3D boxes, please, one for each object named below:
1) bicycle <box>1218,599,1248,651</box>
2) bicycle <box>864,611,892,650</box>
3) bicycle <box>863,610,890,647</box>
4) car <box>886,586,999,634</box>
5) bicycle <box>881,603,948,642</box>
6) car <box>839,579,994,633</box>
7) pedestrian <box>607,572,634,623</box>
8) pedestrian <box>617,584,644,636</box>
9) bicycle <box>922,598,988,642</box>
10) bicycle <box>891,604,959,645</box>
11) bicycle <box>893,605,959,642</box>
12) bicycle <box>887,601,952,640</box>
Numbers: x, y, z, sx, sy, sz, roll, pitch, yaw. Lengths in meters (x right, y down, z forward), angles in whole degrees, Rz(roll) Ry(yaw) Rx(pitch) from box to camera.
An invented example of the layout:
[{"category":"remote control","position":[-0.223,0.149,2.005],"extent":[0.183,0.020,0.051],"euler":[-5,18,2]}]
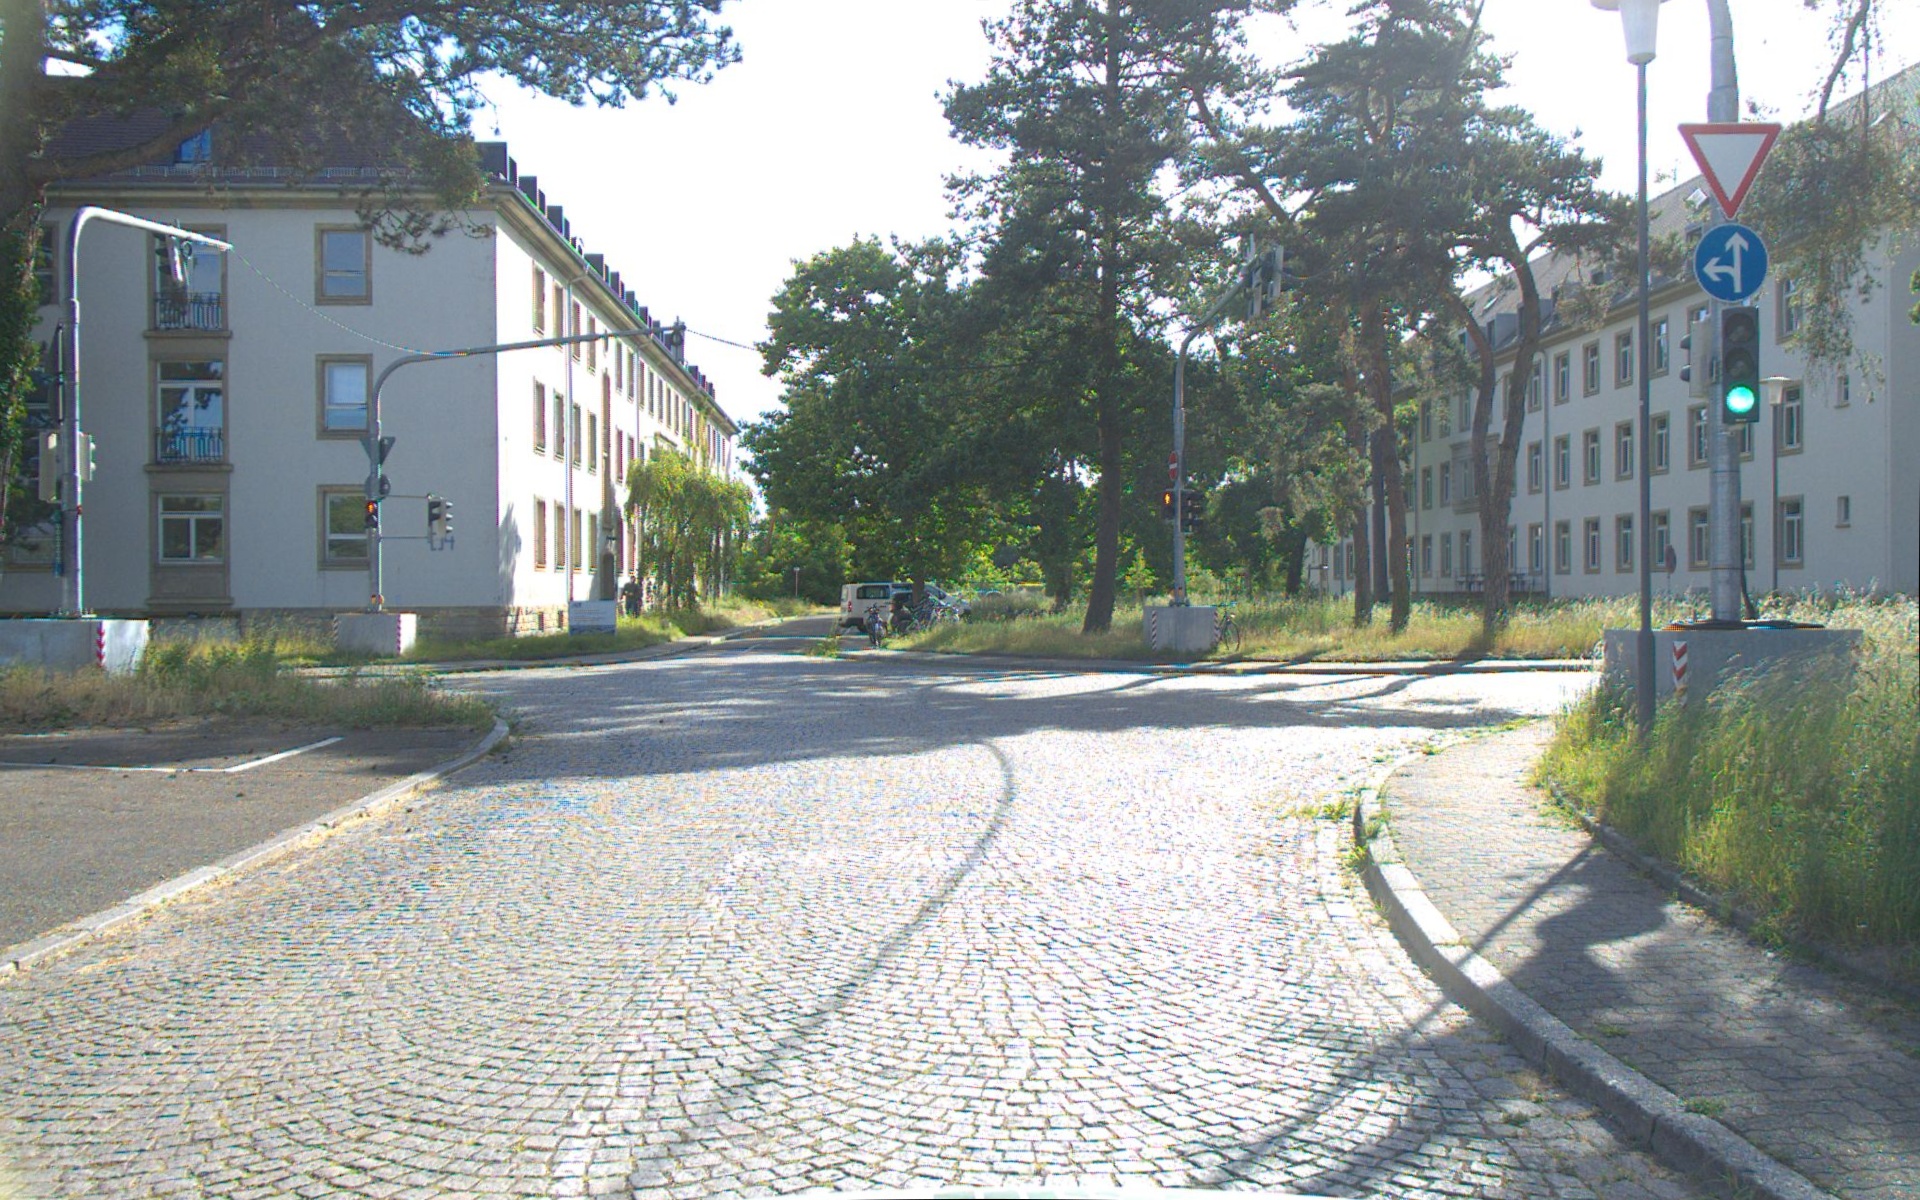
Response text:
[{"category":"bicycle","position":[5.804,0.526,35.191],"extent":[0.456,1.099,1.174],"euler":[0,0,1]},{"category":"bicycle","position":[-2.168,0.780,43.468],"extent":[0.682,0.988,1.859],"euler":[0,0,-4]},{"category":"bicycle","position":[-2.310,0.768,45.400],"extent":[0.682,0.988,1.859],"euler":[0,0,-4]},{"category":"car","position":[-0.649,0.363,60.804],"extent":[3.915,1.713,1.843],"euler":[0,0,-11]},{"category":"bicycle","position":[-1.355,0.658,49.006],"extent":[1.920,1.149,0.641],"euler":[0,0,-30]},{"category":"car","position":[-1.760,0.236,65.033],"extent":[5.822,2.049,2.470],"euler":[0,0,-10]},{"category":"pedestrian","position":[-12.393,-0.107,60.419],"extent":[0.751,1.849,0.683],"euler":[0,0,8]},{"category":"pedestrian","position":[-11.825,0.367,59.300],"extent":[0.794,1.849,0.555],"euler":[-1,0,8]},{"category":"bicycle","position":[-0.151,0.586,48.548],"extent":[1.903,1.257,0.485],"euler":[0,0,-6]},{"category":"bicycle","position":[-1.025,0.706,47.803],"extent":[1.903,1.149,0.749],"euler":[0,0,-6]},{"category":"bicycle","position":[-0.978,0.664,47.008],"extent":[1.818,1.049,0.749],"euler":[0,0,-6]},{"category":"bicycle","position":[-1.229,0.609,50.101],"extent":[1.904,1.149,0.646],"euler":[0,0,-8]}]
